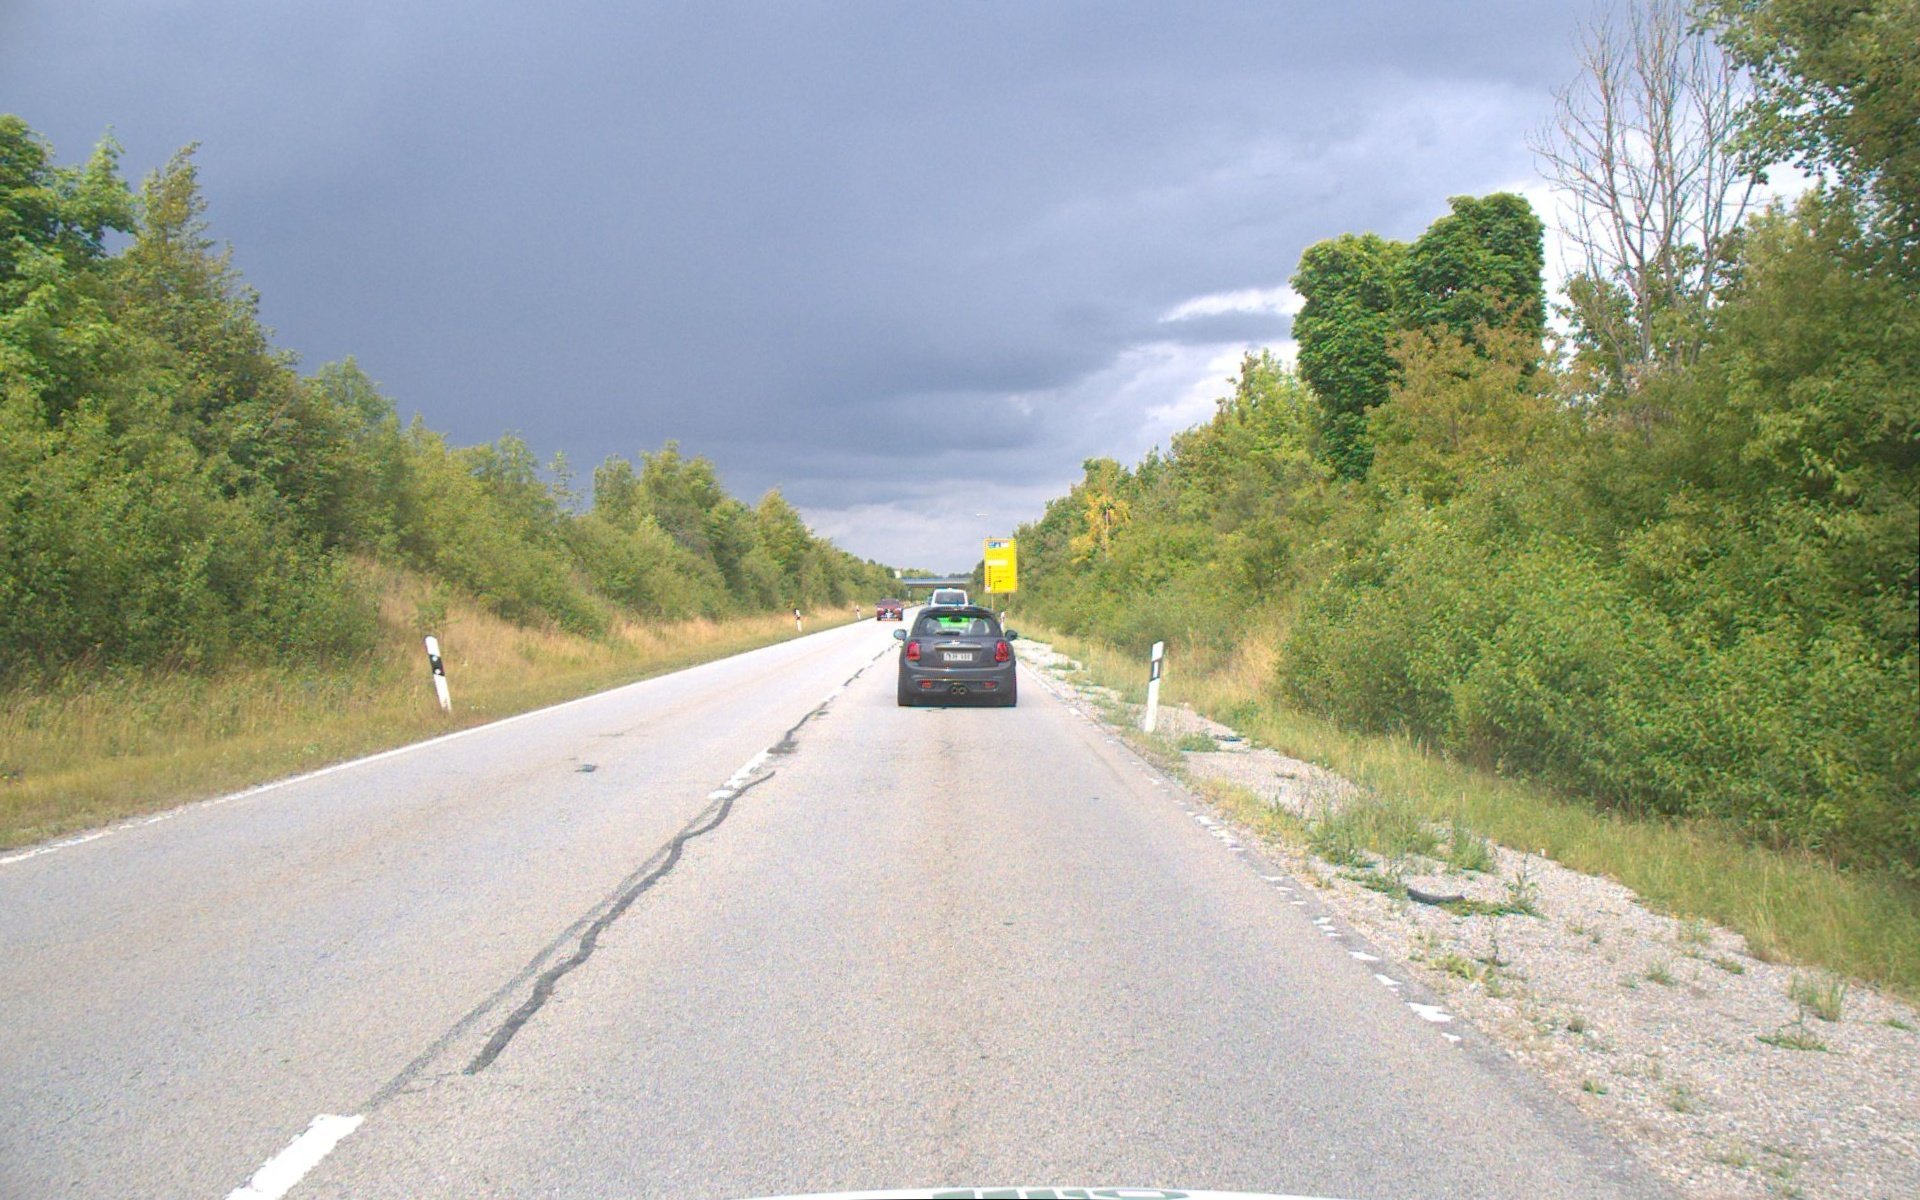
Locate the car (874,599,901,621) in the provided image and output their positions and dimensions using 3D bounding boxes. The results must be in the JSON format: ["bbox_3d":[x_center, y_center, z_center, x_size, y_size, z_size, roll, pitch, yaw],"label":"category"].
[{"bbox_3d":[-5.116,0.719,116.981,1.791,1.490,4.410,0,0,-1],"label":"car"}]

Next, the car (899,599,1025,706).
[{"bbox_3d":[-0.003,0.739,24.904,1.721,1.452,3.999,1,0,-1],"label":"car"}]

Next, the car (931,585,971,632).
[{"bbox_3d":[-0.454,0.398,77.316,1.782,2.090,3.999,1,0,-1],"label":"car"}]
